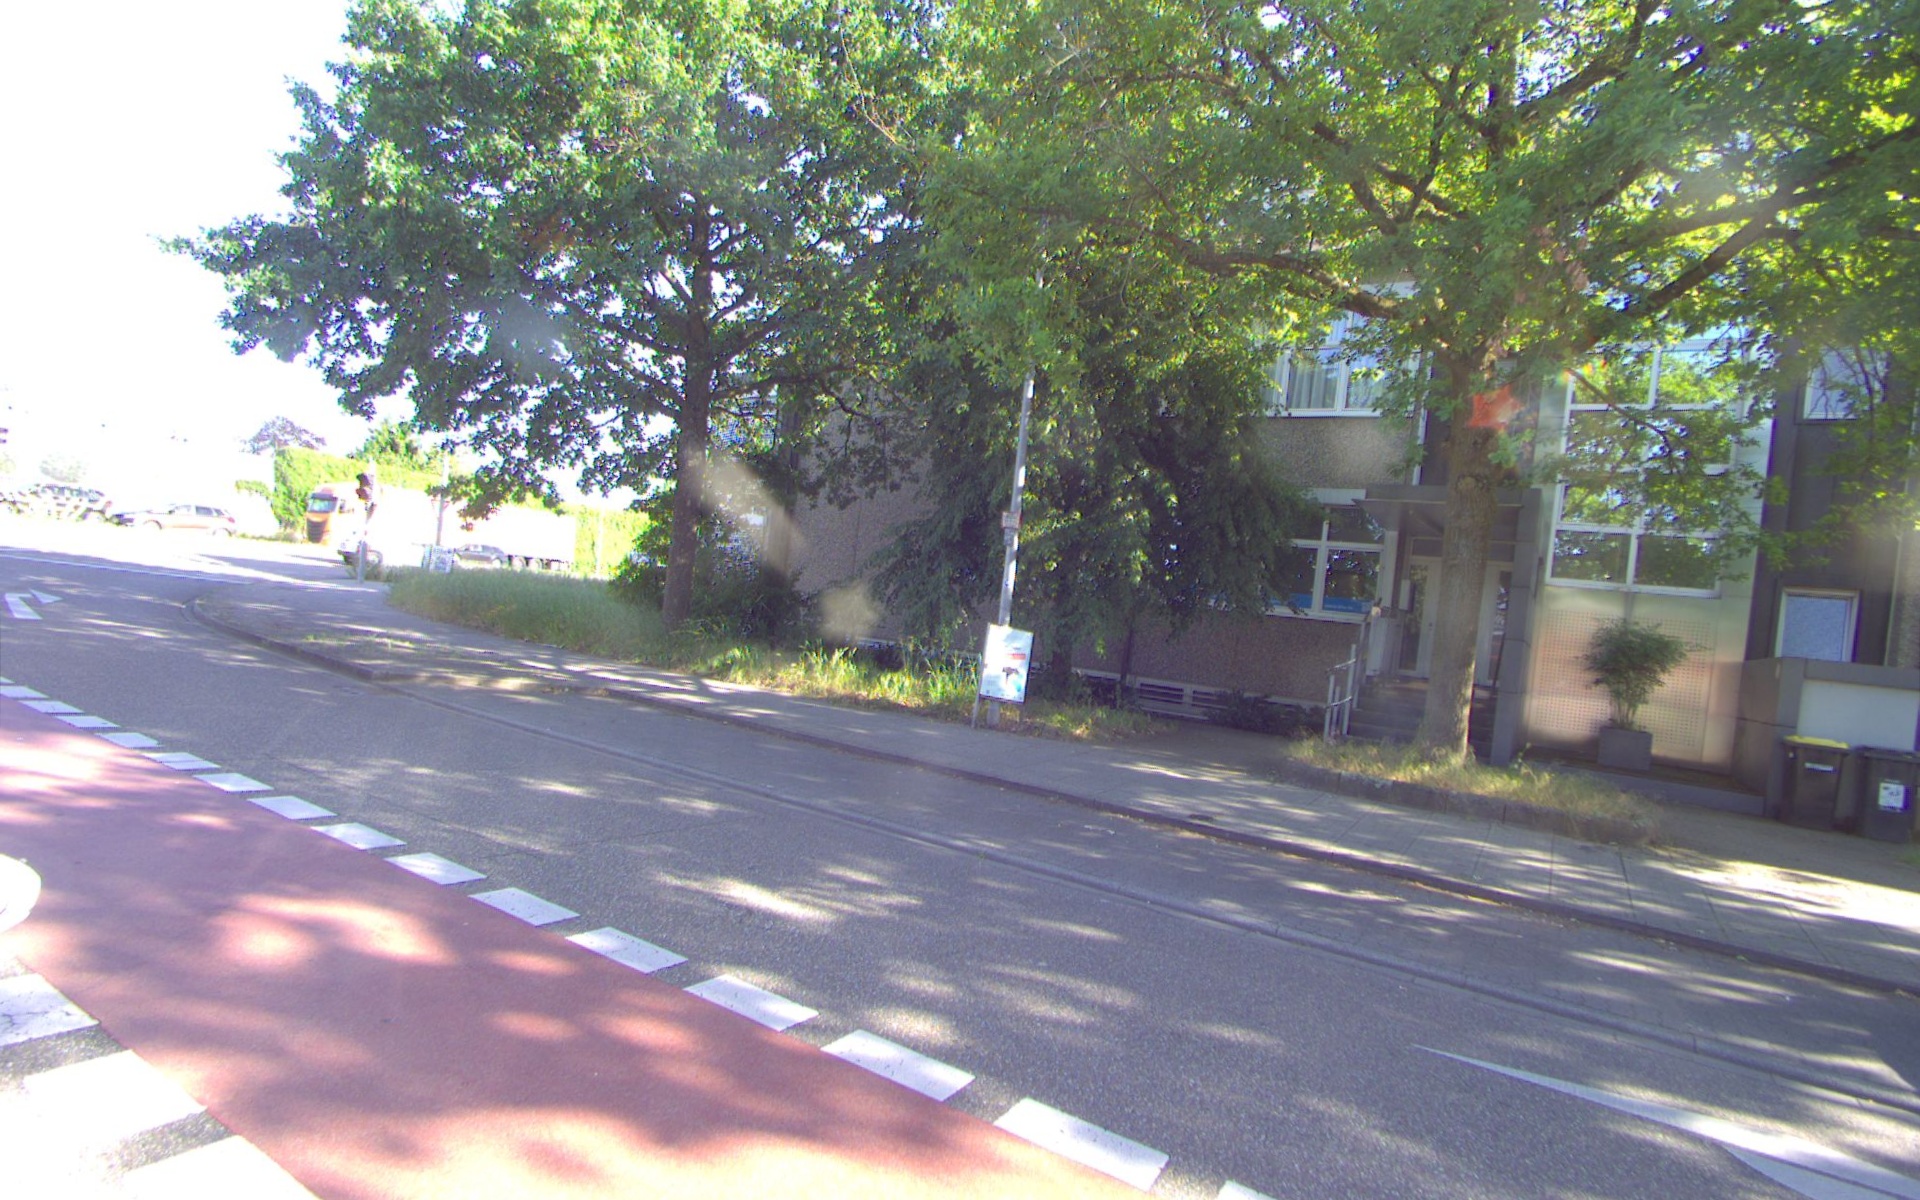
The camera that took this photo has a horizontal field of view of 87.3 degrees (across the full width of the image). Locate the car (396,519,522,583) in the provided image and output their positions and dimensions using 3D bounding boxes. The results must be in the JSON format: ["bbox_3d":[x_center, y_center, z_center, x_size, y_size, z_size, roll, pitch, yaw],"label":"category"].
[{"bbox_3d":[-13.944,-1.330,28.208,1.433,1.311,3.412,7,-2,7],"label":"car"}]

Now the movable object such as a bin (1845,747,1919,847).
[{"bbox_3d":[10.799,2.278,11.706,0.566,1.019,0.629,6,-1,31],"label":"movable object such as a bin"}]

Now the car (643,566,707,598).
[{"bbox_3d":[-17.082,-1.063,60.519,1.565,1.503,3.680,6,-1,25],"label":"car"}]

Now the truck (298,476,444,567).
[{"bbox_3d":[-32.402,-4.228,55.629,2.429,4.047,6.415,7,0,25],"label":"truck"}]

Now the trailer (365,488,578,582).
[{"bbox_3d":[-29.497,-3.750,61.890,2.426,4.079,12.767,7,-1,25],"label":"trailer"}]

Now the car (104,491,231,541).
[{"bbox_3d":[-34.428,-3.628,43.817,1.538,1.458,3.999,6,-2,26],"label":"car"}]

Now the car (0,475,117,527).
[{"bbox_3d":[-33.860,-3.688,36.892,1.548,1.317,4.170,6,-2,28],"label":"car"}]

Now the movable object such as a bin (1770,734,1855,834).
[{"bbox_3d":[10.190,2.182,12.047,0.571,1.045,0.713,7,0,31],"label":"movable object such as a bin"}]

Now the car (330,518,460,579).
[{"bbox_3d":[-21.938,-1.961,39.238,1.434,1.823,4.115,6,-1,33],"label":"car"}]
